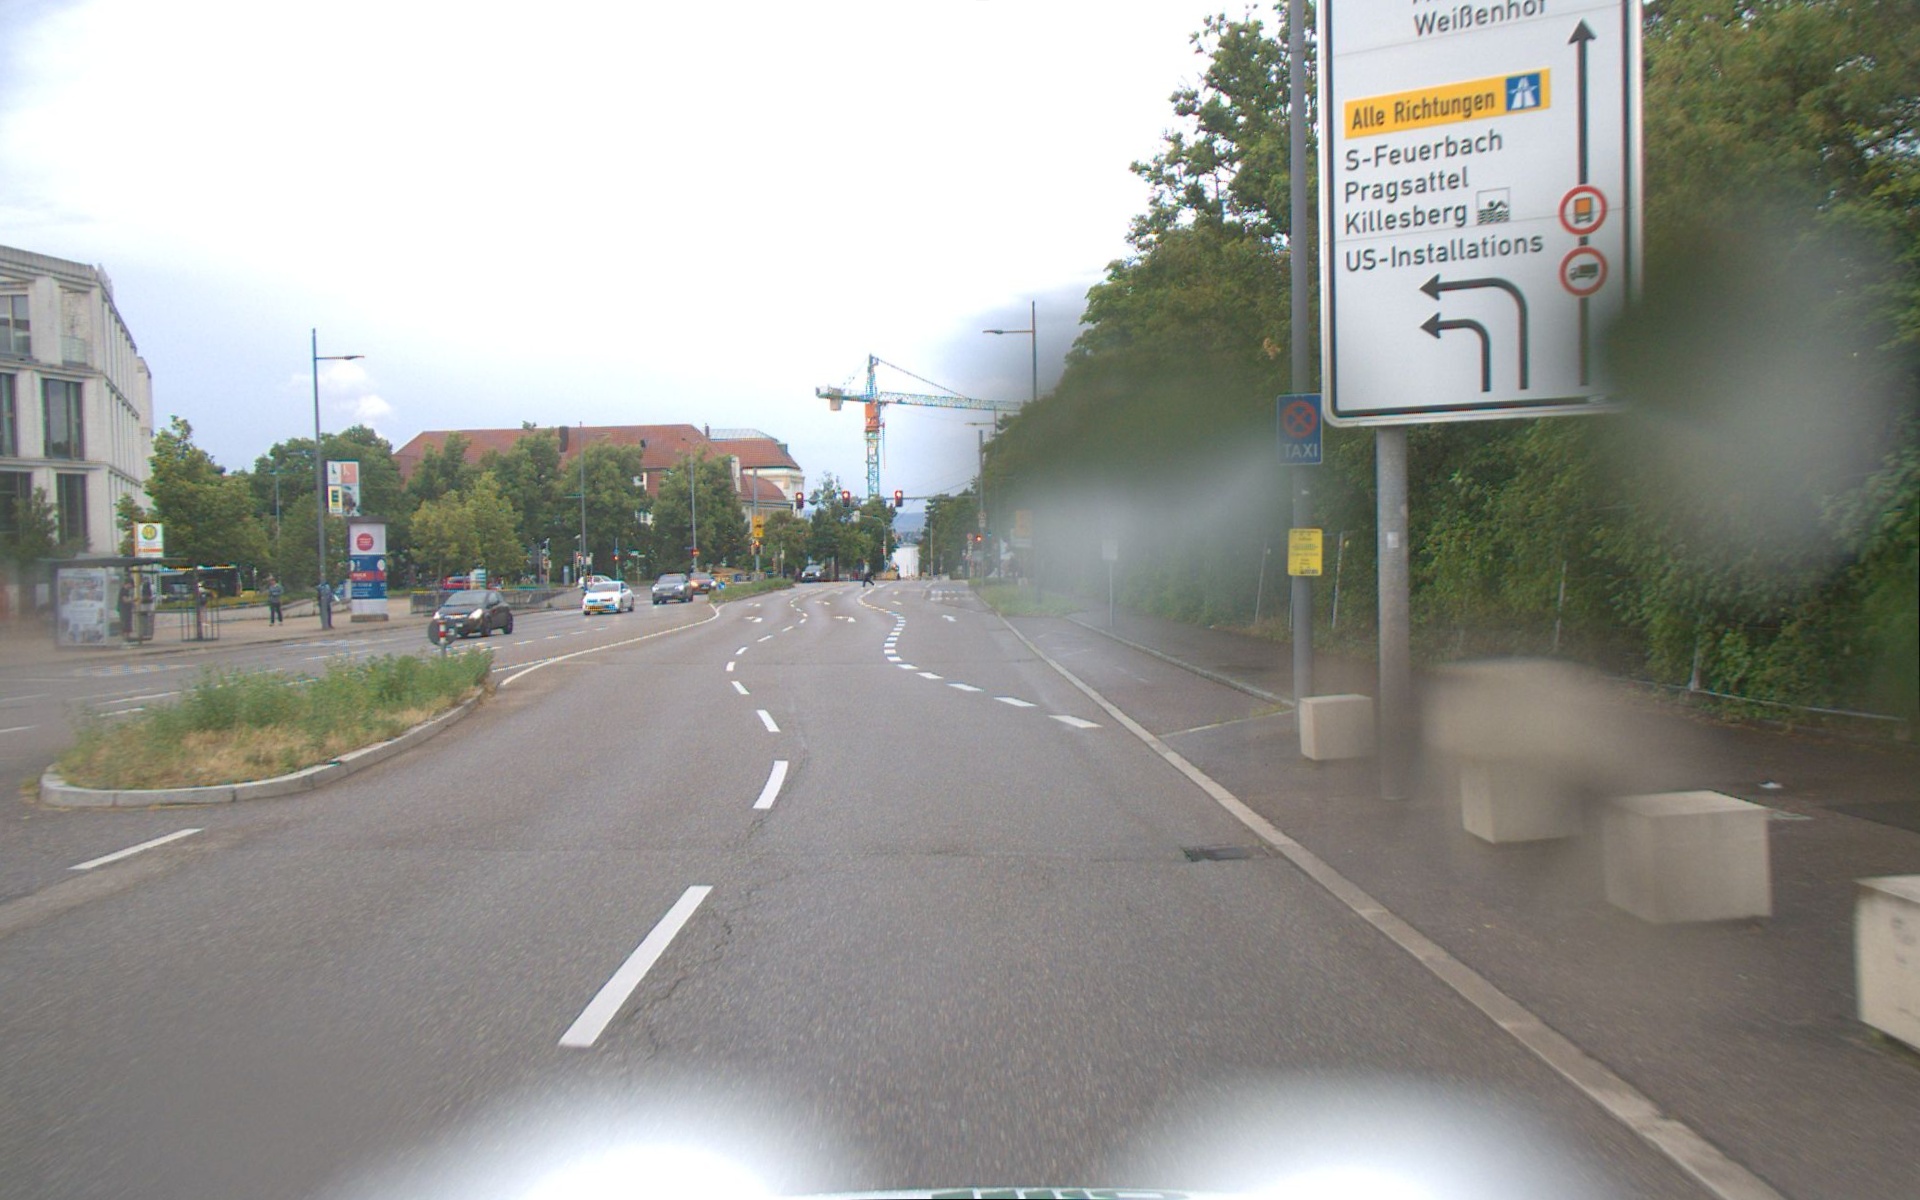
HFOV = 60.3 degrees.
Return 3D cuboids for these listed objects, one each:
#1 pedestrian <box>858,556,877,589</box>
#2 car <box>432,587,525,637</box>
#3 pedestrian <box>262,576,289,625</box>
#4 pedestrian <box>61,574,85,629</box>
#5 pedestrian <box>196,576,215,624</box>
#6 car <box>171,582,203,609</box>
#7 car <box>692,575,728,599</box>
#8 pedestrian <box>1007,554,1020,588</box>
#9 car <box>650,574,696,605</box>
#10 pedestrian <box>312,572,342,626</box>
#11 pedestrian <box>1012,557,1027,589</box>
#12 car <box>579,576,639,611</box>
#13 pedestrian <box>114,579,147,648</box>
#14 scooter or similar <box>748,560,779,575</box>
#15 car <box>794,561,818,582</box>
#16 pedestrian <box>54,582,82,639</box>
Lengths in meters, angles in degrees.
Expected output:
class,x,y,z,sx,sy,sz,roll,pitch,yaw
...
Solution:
class,x,y,z,sx,sy,sz,roll,pitch,yaw
pedestrian,-5.936,-1.782,106.166,0.920,2.048,0.848,-4,1,5
car,-15.328,0.368,52.843,1.809,1.487,3.866,-2,0,-1
pedestrian,-25.645,0.011,61.953,0.586,1.793,0.857,-1,1,1
pedestrian,-28.429,0.037,53.010,0.417,1.755,0.621,-1,0,0
pedestrian,-27.560,-0.008,60.432,0.489,1.719,0.911,-1,1,-17
car,-53.702,-0.317,114.839,1.754,1.761,3.962,-2,1,-28
car,-17.133,-0.904,113.463,1.795,1.441,4.465,-4,1,-1
pedestrian,3.021,-1.634,93.645,0.628,1.934,0.717,-2,1,-6
car,-16.296,-0.585,94.022,1.795,1.599,4.593,-4,0,-1
pedestrian,-22.492,-0.034,58.774,0.737,1.874,0.746,-1,0,1
pedestrian,3.220,-1.468,89.286,0.662,1.686,0.792,-2,1,-6
car,-16.113,-0.285,76.005,1.835,1.454,4.175,-4,0,-1
pedestrian,-22.822,0.370,45.492,0.497,1.874,0.755,-1,0,-2
scooter or similar,-19.731,-3.259,165.931,3.026,1.465,0.948,-2,1,-3
car,-14.466,-2.677,155.164,1.953,1.870,3.998,1,-1,-2
pedestrian,-27.607,0.325,51.218,0.514,1.755,0.566,-1,0,1
